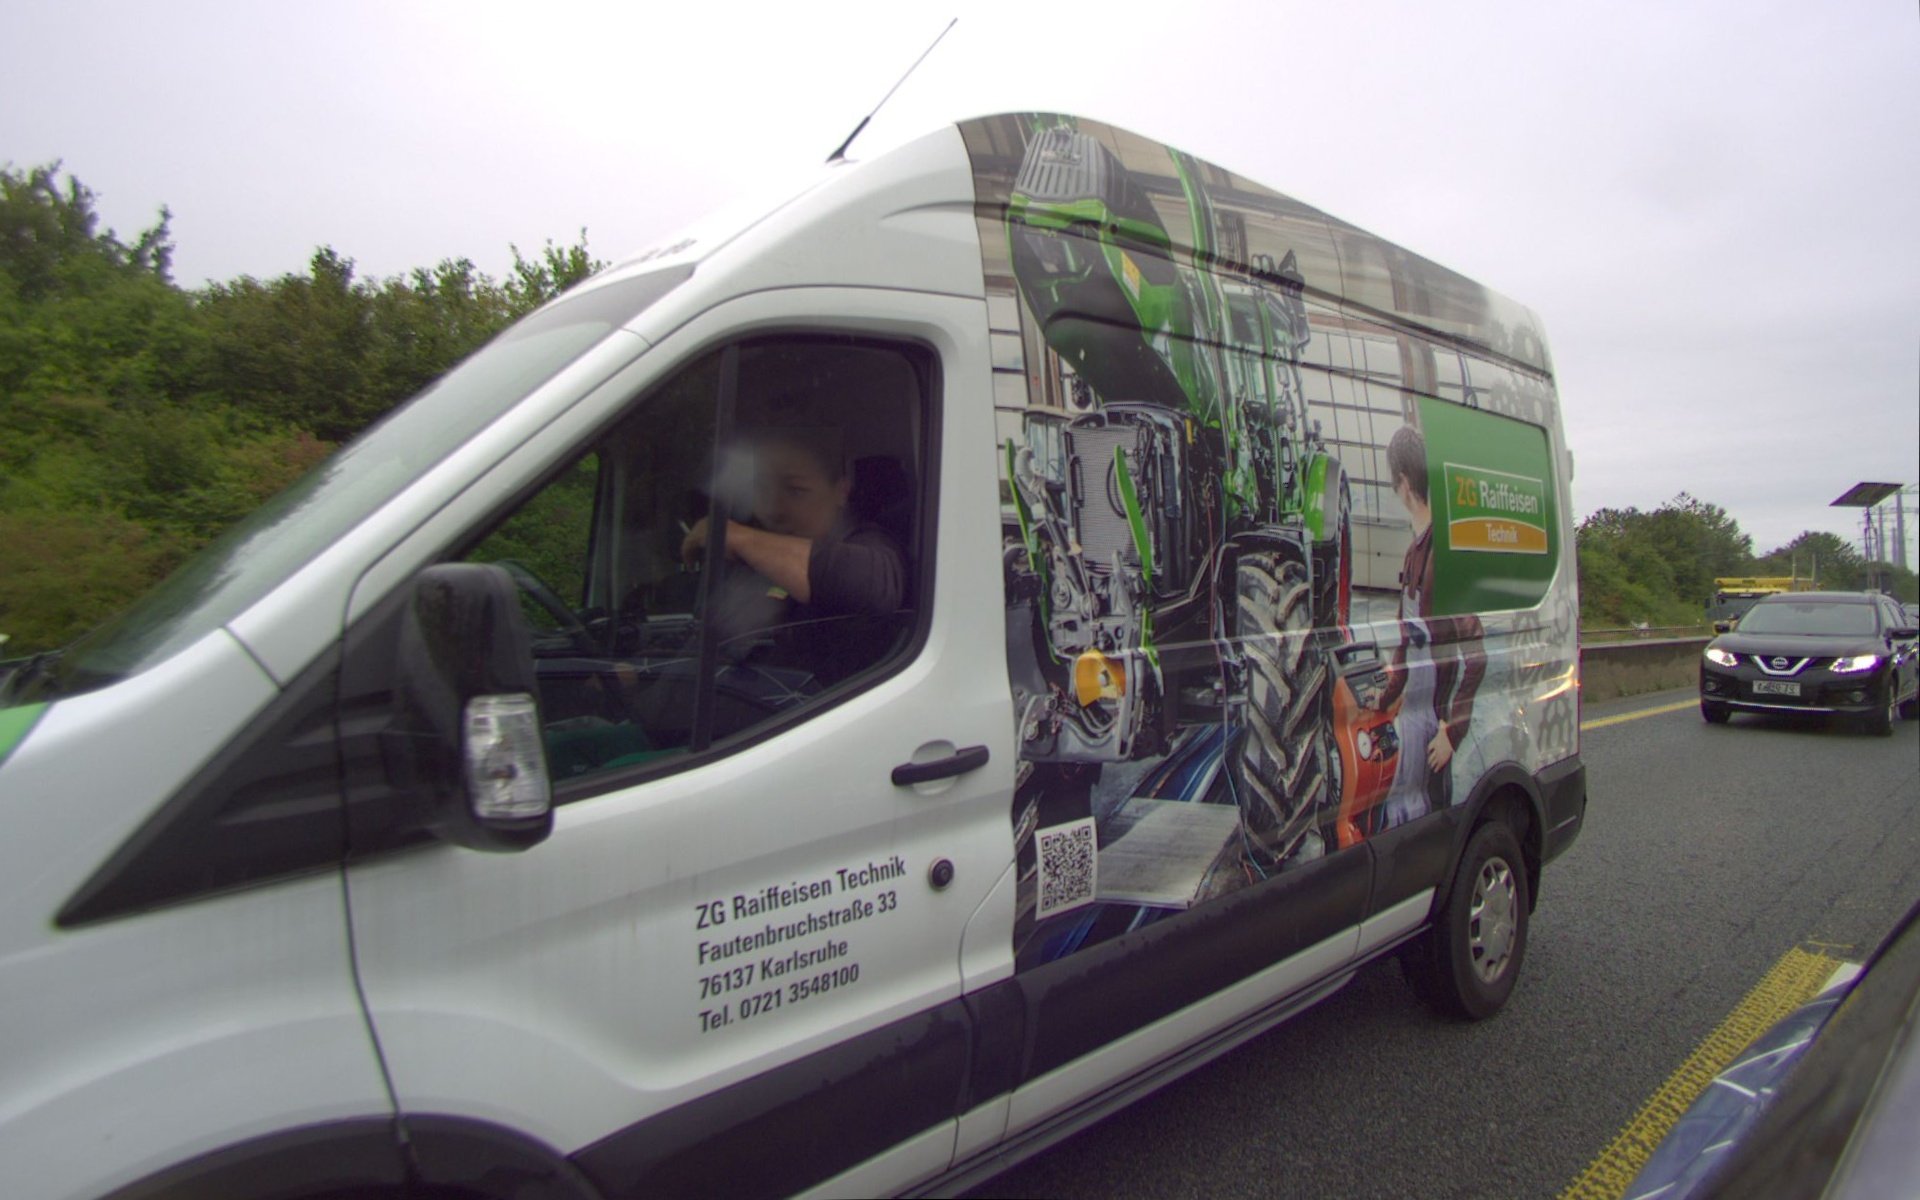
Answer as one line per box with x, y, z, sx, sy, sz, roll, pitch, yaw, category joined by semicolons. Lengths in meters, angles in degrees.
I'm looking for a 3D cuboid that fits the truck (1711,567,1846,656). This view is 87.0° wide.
35.039;0.408;43.175;9.404;3.467;2.618;0;0;-39;truck

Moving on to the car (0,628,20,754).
-16.108;1.368;14.169;4.255;1.792;1.731;0;0;-42;car

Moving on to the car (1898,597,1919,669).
22.275;0.703;22.451;4.052;1.509;1.782;0;0;-41;car

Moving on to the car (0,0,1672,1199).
0.136;0.021;3.257;6.010;2.709;2.148;0;0;-41;car

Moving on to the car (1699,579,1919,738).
11.282;0.607;13.074;4.561;1.696;1.892;0;0;-42;car
